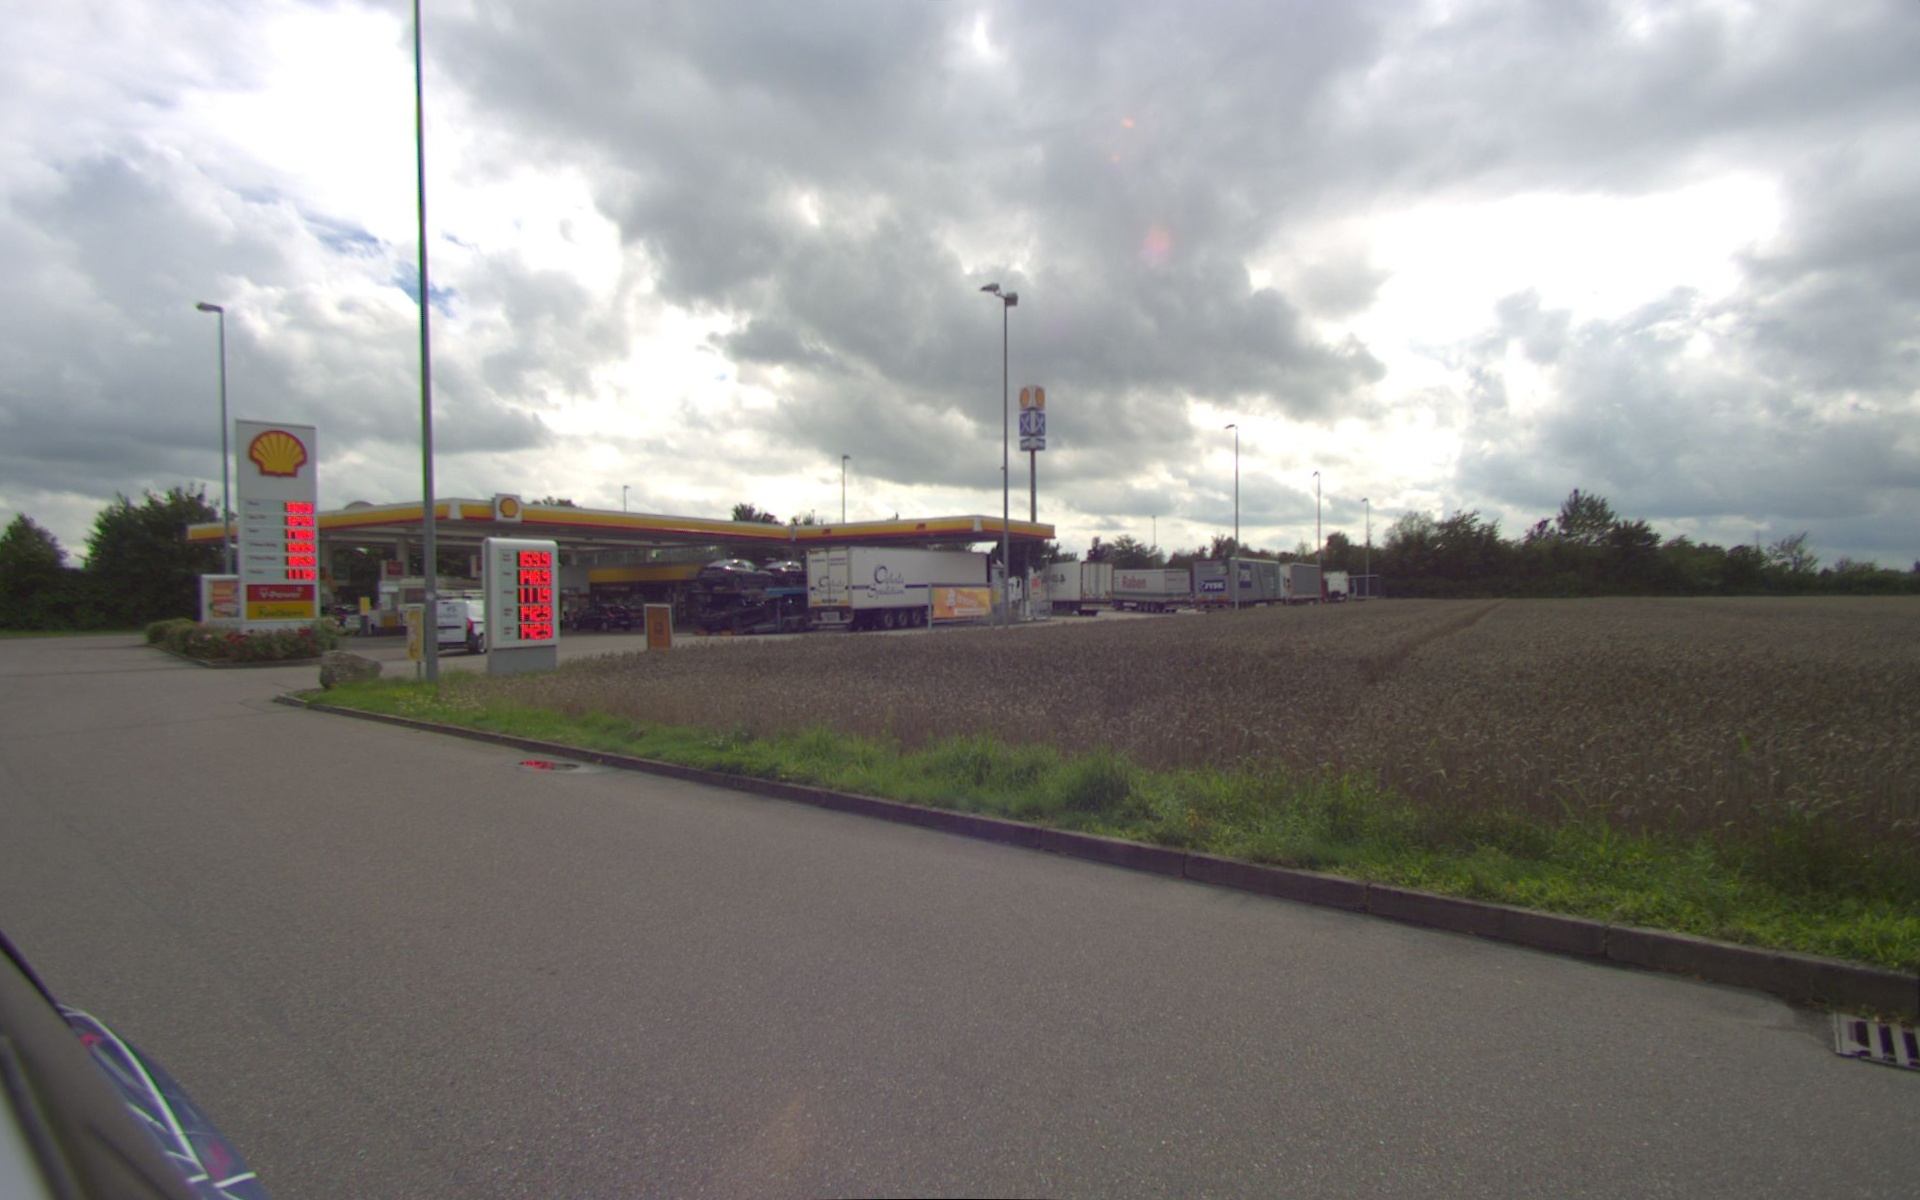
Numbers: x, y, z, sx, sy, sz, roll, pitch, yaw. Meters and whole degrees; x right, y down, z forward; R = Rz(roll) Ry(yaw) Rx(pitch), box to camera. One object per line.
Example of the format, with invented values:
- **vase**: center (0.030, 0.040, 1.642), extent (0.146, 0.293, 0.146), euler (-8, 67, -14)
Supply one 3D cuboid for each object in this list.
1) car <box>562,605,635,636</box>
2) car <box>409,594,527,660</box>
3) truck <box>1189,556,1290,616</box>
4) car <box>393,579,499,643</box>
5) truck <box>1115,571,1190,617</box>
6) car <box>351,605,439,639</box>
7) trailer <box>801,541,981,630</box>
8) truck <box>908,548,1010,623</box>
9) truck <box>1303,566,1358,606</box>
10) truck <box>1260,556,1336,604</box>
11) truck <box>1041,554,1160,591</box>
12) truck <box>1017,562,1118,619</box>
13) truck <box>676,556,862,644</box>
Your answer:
- **car**: center (-20.022, 1.121, 55.990), extent (3.742, 1.613, 1.701), euler (-2, 0, 27)
- **car**: center (-16.276, 0.871, 33.699), extent (1.774, 2.027, 3.875), euler (-2, -1, 5)
- **truck**: center (20.742, -0.975, 74.133), extent (2.815, 3.923, 15.291), euler (0, 0, 32)
- **car**: center (-24.118, 0.495, 47.801), extent (2.192, 2.808, 5.810), euler (-1, 0, -2)
- **truck**: center (18.262, -0.506, 97.060), extent (2.945, 4.142, 11.600), euler (-1, 0, -11)
- **car**: center (-27.526, 1.046, 49.469), extent (1.974, 1.571, 3.957), euler (-2, 0, 3)
- **trailer**: center (-3.188, -0.693, 52.861), extent (2.702, 4.055, 12.717), euler (-2, 0, 30)
- **truck**: center (0.071, -0.807, 58.654), extent (2.702, 4.055, 7.096), euler (-2, 0, 30)
- **truck**: center (38.657, -1.399, 105.258), extent (2.815, 3.923, 12.668), euler (0, 0, 32)
- **truck**: center (30.243, -1.736, 89.972), extent (2.815, 3.923, 15.291), euler (0, 0, 32)
- **truck**: center (15.496, -3.053, 111.440), extent (12.796, 3.923, 2.832), euler (0, 0, -14)
- **truck**: center (8.290, -0.726, 81.232), extent (2.913, 4.143, 14.791), euler (0, 0, -15)
- **truck**: center (-9.348, -0.048, 52.165), extent (2.734, 3.953, 13.159), euler (0, 0, 22)
